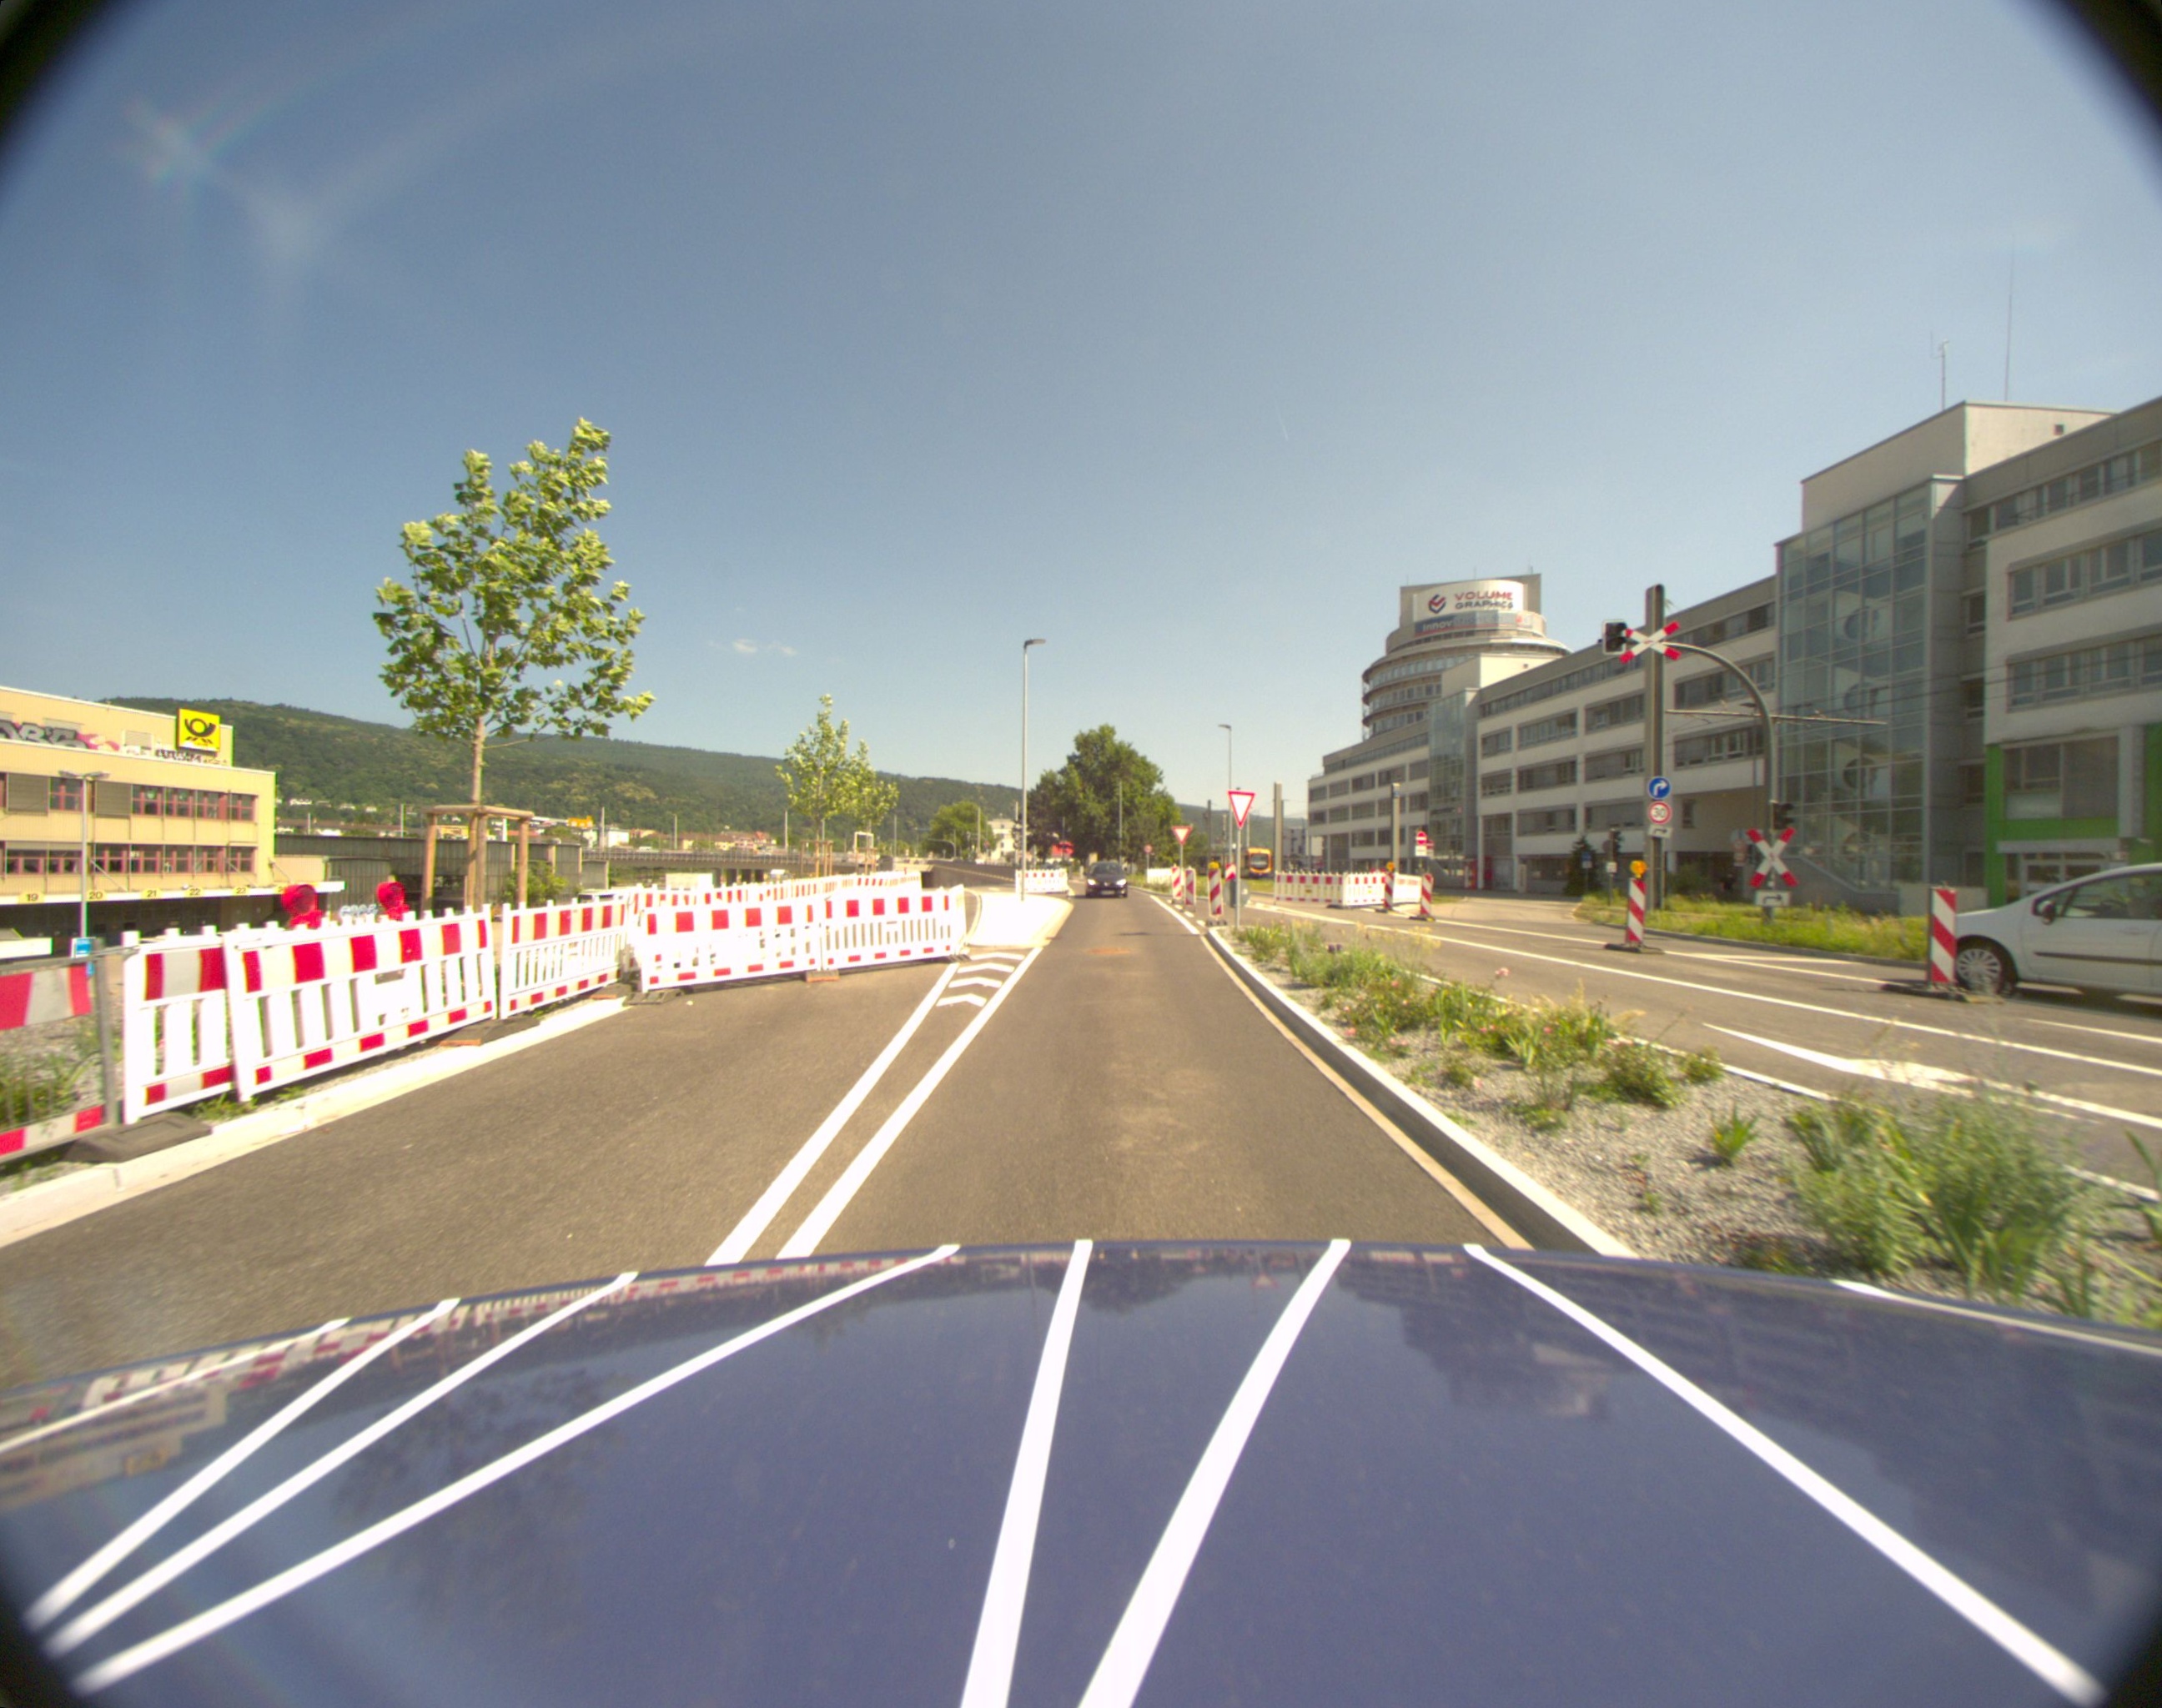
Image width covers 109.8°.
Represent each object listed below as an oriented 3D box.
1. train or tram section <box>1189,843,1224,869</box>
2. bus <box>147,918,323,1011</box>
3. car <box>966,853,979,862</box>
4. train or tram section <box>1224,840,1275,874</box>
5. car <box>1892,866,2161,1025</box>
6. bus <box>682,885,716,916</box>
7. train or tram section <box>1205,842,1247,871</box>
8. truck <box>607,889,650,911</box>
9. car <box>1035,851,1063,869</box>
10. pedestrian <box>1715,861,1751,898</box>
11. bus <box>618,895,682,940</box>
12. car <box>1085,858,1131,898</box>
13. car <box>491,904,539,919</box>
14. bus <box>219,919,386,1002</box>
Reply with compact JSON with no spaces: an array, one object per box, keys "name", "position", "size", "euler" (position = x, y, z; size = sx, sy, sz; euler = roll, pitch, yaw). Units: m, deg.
[{"name":"train or tram section","position":[17.669,0.328,107.556],"size":[2.632,3.430,11.779],"euler":[-1,0,-2]},{"name":"bus","position":[-47.681,5.863,42.520],"size":[17.081,3.742,2.670],"euler":[0,1,29]},{"name":"car","position":[-17.881,0.643,125.021],"size":[1.621,1.433,3.762],"euler":[0,0,-18]},{"name":"train or tram section","position":[18.434,0.301,83.995],"size":[2.632,3.430,11.779],"euler":[-1,0,-2]},{"name":"car","position":[11.372,0.944,7.836],"size":[1.585,1.532,3.977],"euler":[3,0,-3]},{"name":"bus","position":[-54.042,6.472,107.814],"size":[2.553,3.510,12.519],"euler":[-1,1,-19]},{"name":"train or tram section","position":[18.062,0.317,95.766],"size":[2.632,3.430,11.779],"euler":[-1,0,-2]},{"name":"truck","position":[-68.034,6.923,114.416],"size":[1.999,2.741,8.389],"euler":[0,0,-5]},{"name":"car","position":[-2.683,0.508,63.192],"size":[1.620,1.433,3.763],"euler":[0,0,-13]},{"name":"pedestrian","position":[32.501,1.267,37.889],"size":[0.767,1.815,1.108],"euler":[-2,0,-4]},{"name":"bus","position":[-43.653,6.286,77.453],"size":[2.552,3.510,12.523],"euler":[-1,1,-15]},{"name":"car","position":[0.997,0.894,29.885],"size":[1.618,1.433,3.706],"euler":[0,0,-1]},{"name":"car","position":[-68.791,7.003,92.446],"size":[4.368,1.576,1.745],"euler":[0,1,-6]},{"name":"bus","position":[-49.400,6.426,47.875],"size":[17.429,3.742,2.670],"euler":[0,1,29]}]
